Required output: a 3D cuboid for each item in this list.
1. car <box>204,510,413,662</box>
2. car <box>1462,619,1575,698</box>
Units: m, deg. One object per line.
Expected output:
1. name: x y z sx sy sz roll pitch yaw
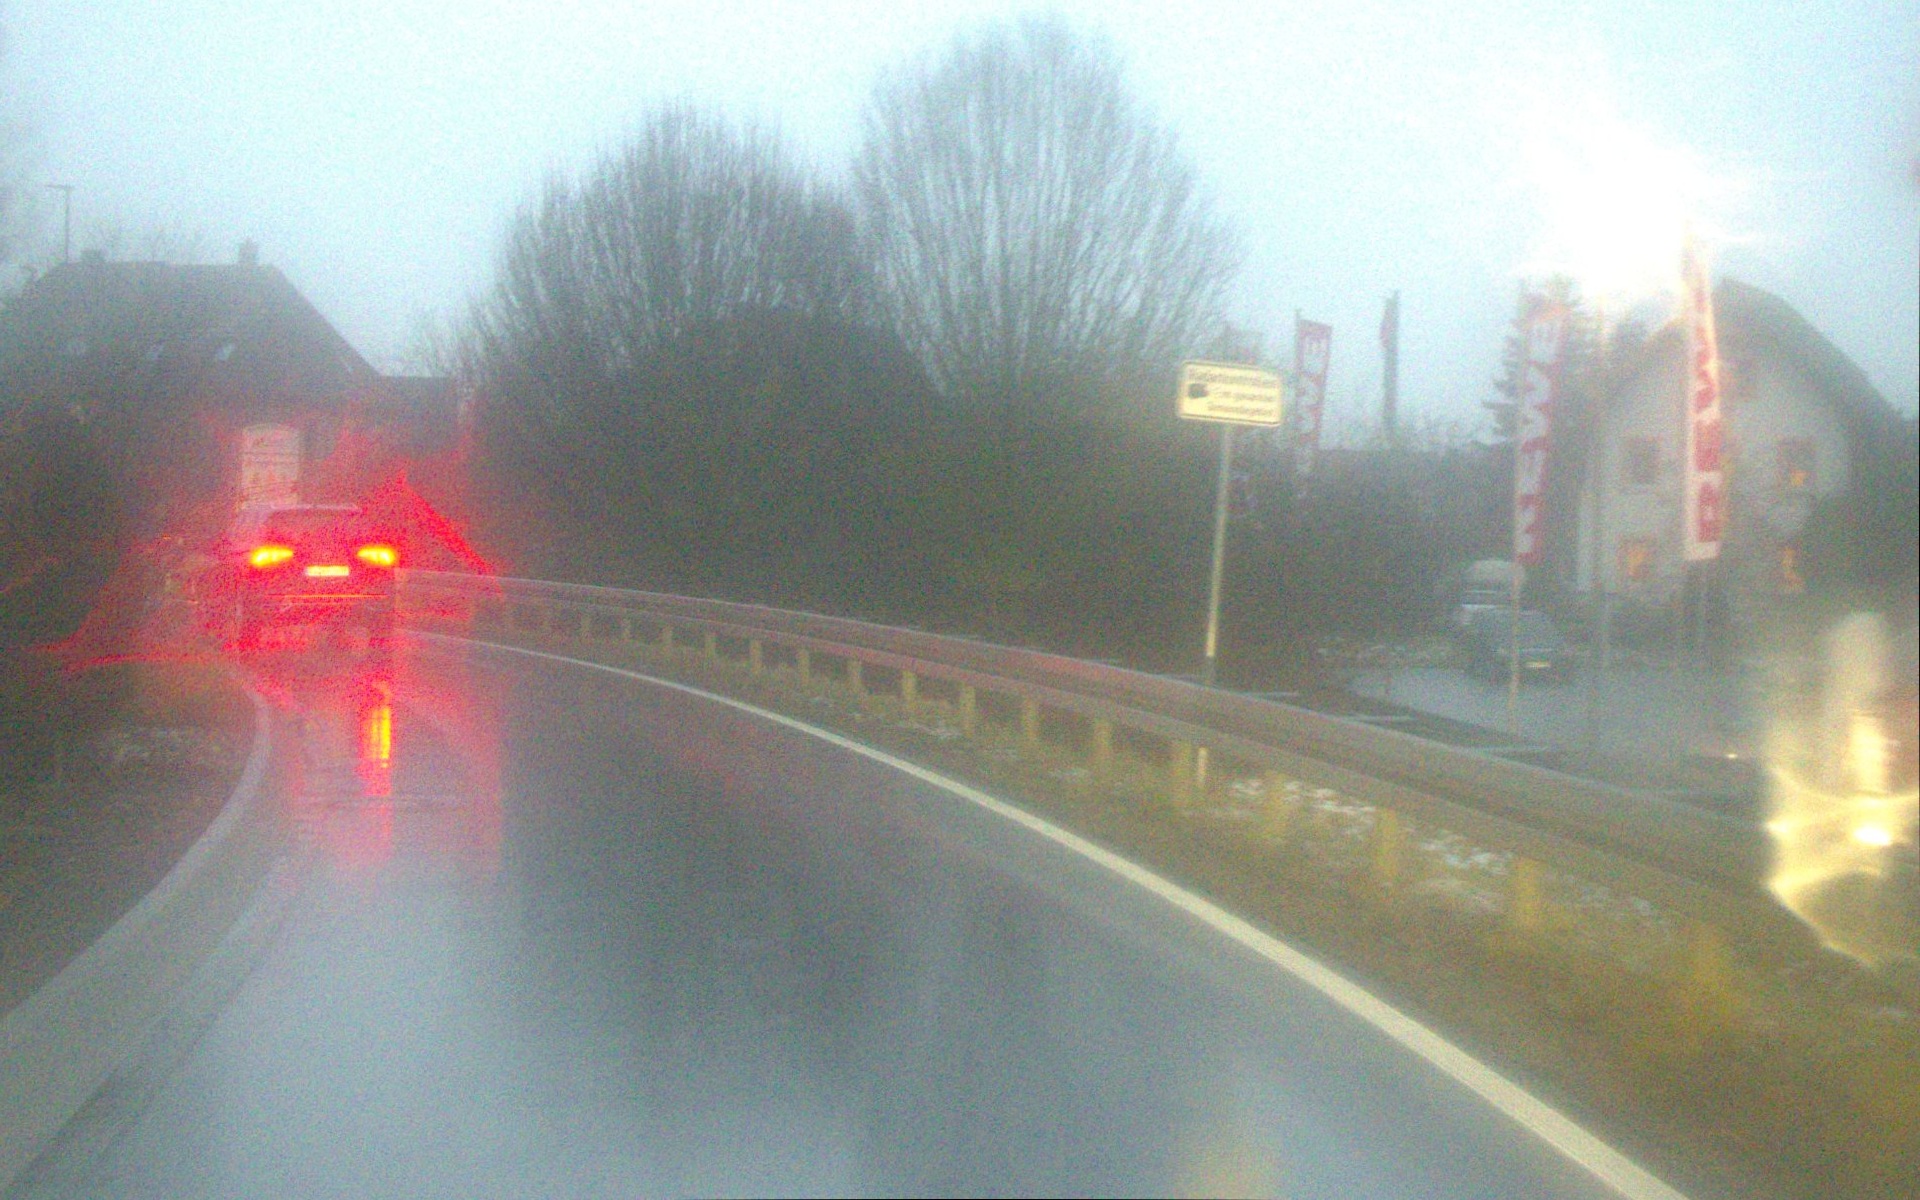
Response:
1. car: -7.937 -0.187 41.626 1.944 1.712 4.001 1 0 -18
2. car: 11.902 1.221 73.486 1.937 1.541 4.000 0 1 3
